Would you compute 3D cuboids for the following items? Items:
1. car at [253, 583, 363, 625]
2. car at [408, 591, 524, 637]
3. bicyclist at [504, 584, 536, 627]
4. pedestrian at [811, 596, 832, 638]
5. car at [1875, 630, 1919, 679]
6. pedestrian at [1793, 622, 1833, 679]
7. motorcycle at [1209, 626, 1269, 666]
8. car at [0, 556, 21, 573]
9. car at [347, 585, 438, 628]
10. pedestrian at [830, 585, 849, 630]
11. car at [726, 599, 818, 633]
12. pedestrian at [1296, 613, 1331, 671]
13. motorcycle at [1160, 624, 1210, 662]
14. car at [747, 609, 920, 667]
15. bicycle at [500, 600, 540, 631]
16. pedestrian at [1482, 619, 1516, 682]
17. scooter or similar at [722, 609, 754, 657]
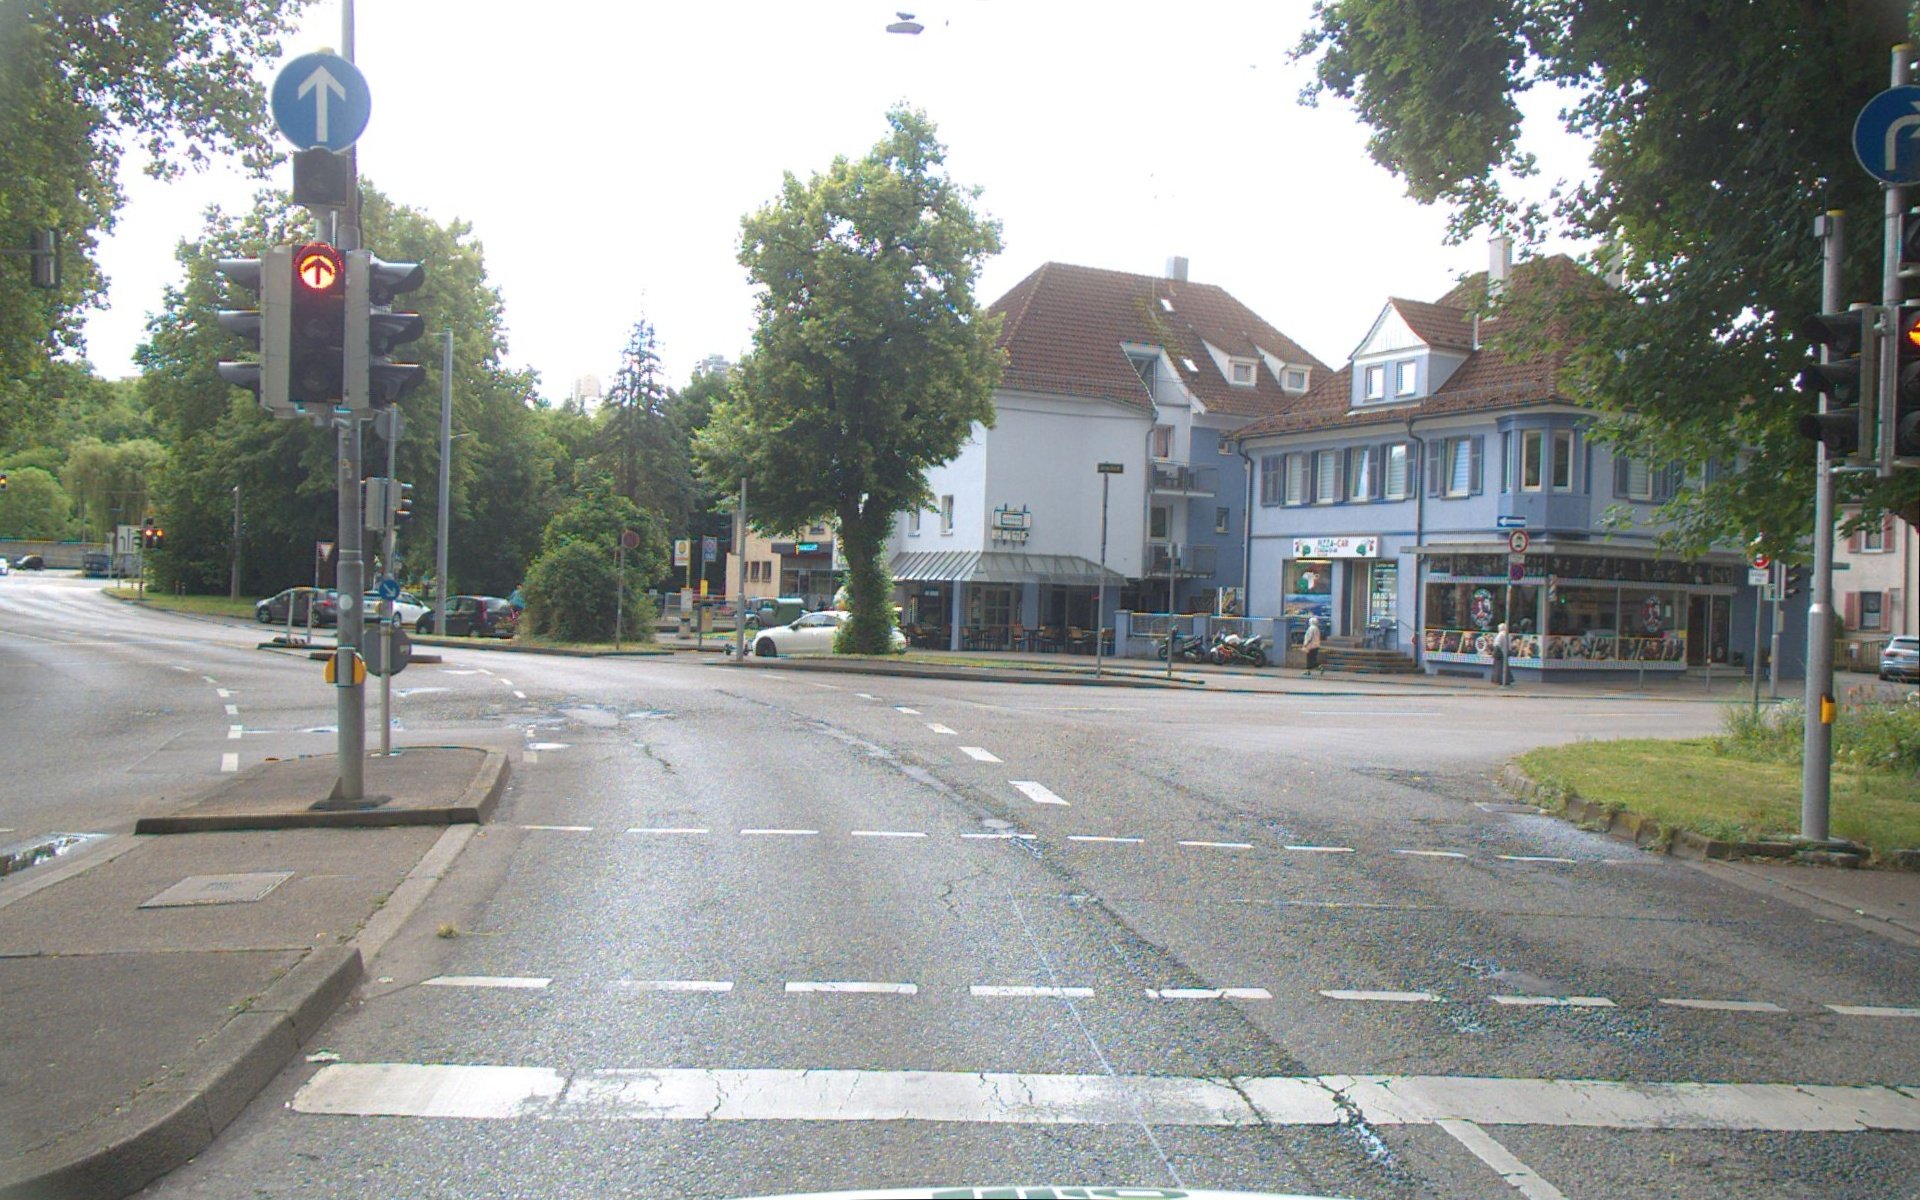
[{"bbox_3d":[-25.003,0.157,63.420,3.695,1.491,1.622,1,0,18],"label":"car"},{"bbox_3d":[-15.909,0.451,53.262,3.252,1.376,1.778,1,0,27],"label":"car"},{"bbox_3d":[-17.361,0.217,65.229,0.896,1.680,0.989,1,0,6],"label":"bicyclist"},{"bbox_3d":[-6.732,0.831,80.592,0.823,2.049,1.052,1,0,-15],"label":"pedestrian"},{"bbox_3d":[29.703,1.693,51.691,1.849,1.415,3.608,1,0,28],"label":"car"},{"bbox_3d":[23.976,1.413,46.498,0.659,1.587,0.743,1,-1,-15],"label":"pedestrian"},{"bbox_3d":[8.172,1.343,48.460,1.595,1.107,0.625,1,0,32],"label":"motorcycle"},{"bbox_3d":[-88.688,-3.290,153.756,2.970,1.442,1.492,0,-2,40],"label":"car"},{"bbox_3d":[-22.728,0.263,66.403,1.821,1.668,3.757,1,0,10],"label":"car"},{"bbox_3d":[-4.299,0.274,59.143,0.531,1.587,0.468,0,-1,13],"label":"pedestrian"},{"bbox_3d":[-8.577,0.738,75.479,3.880,1.467,1.742,1,0,-21],"label":"car"},{"bbox_3d":[9.699,1.147,45.419,0.717,1.587,0.767,0,-1,30],"label":"pedestrian"},{"bbox_3d":[6.819,1.292,50.210,1.430,1.107,0.522,1,0,35],"label":"motorcycle"},{"bbox_3d":[-3.527,1.025,45.683,4.618,1.435,1.896,1,0,35],"label":"car"},{"bbox_3d":[-17.348,0.597,65.222,0.855,1.169,1.954,1,0,6],"label":"bicycle"},{"bbox_3d":[13.838,1.292,42.453,0.681,1.587,0.665,0,-1,30],"label":"pedestrian"},{"bbox_3d":[-5.696,0.832,42.508,0.433,1.195,1.439,1,0,8],"label":"scooter or similar"}]
